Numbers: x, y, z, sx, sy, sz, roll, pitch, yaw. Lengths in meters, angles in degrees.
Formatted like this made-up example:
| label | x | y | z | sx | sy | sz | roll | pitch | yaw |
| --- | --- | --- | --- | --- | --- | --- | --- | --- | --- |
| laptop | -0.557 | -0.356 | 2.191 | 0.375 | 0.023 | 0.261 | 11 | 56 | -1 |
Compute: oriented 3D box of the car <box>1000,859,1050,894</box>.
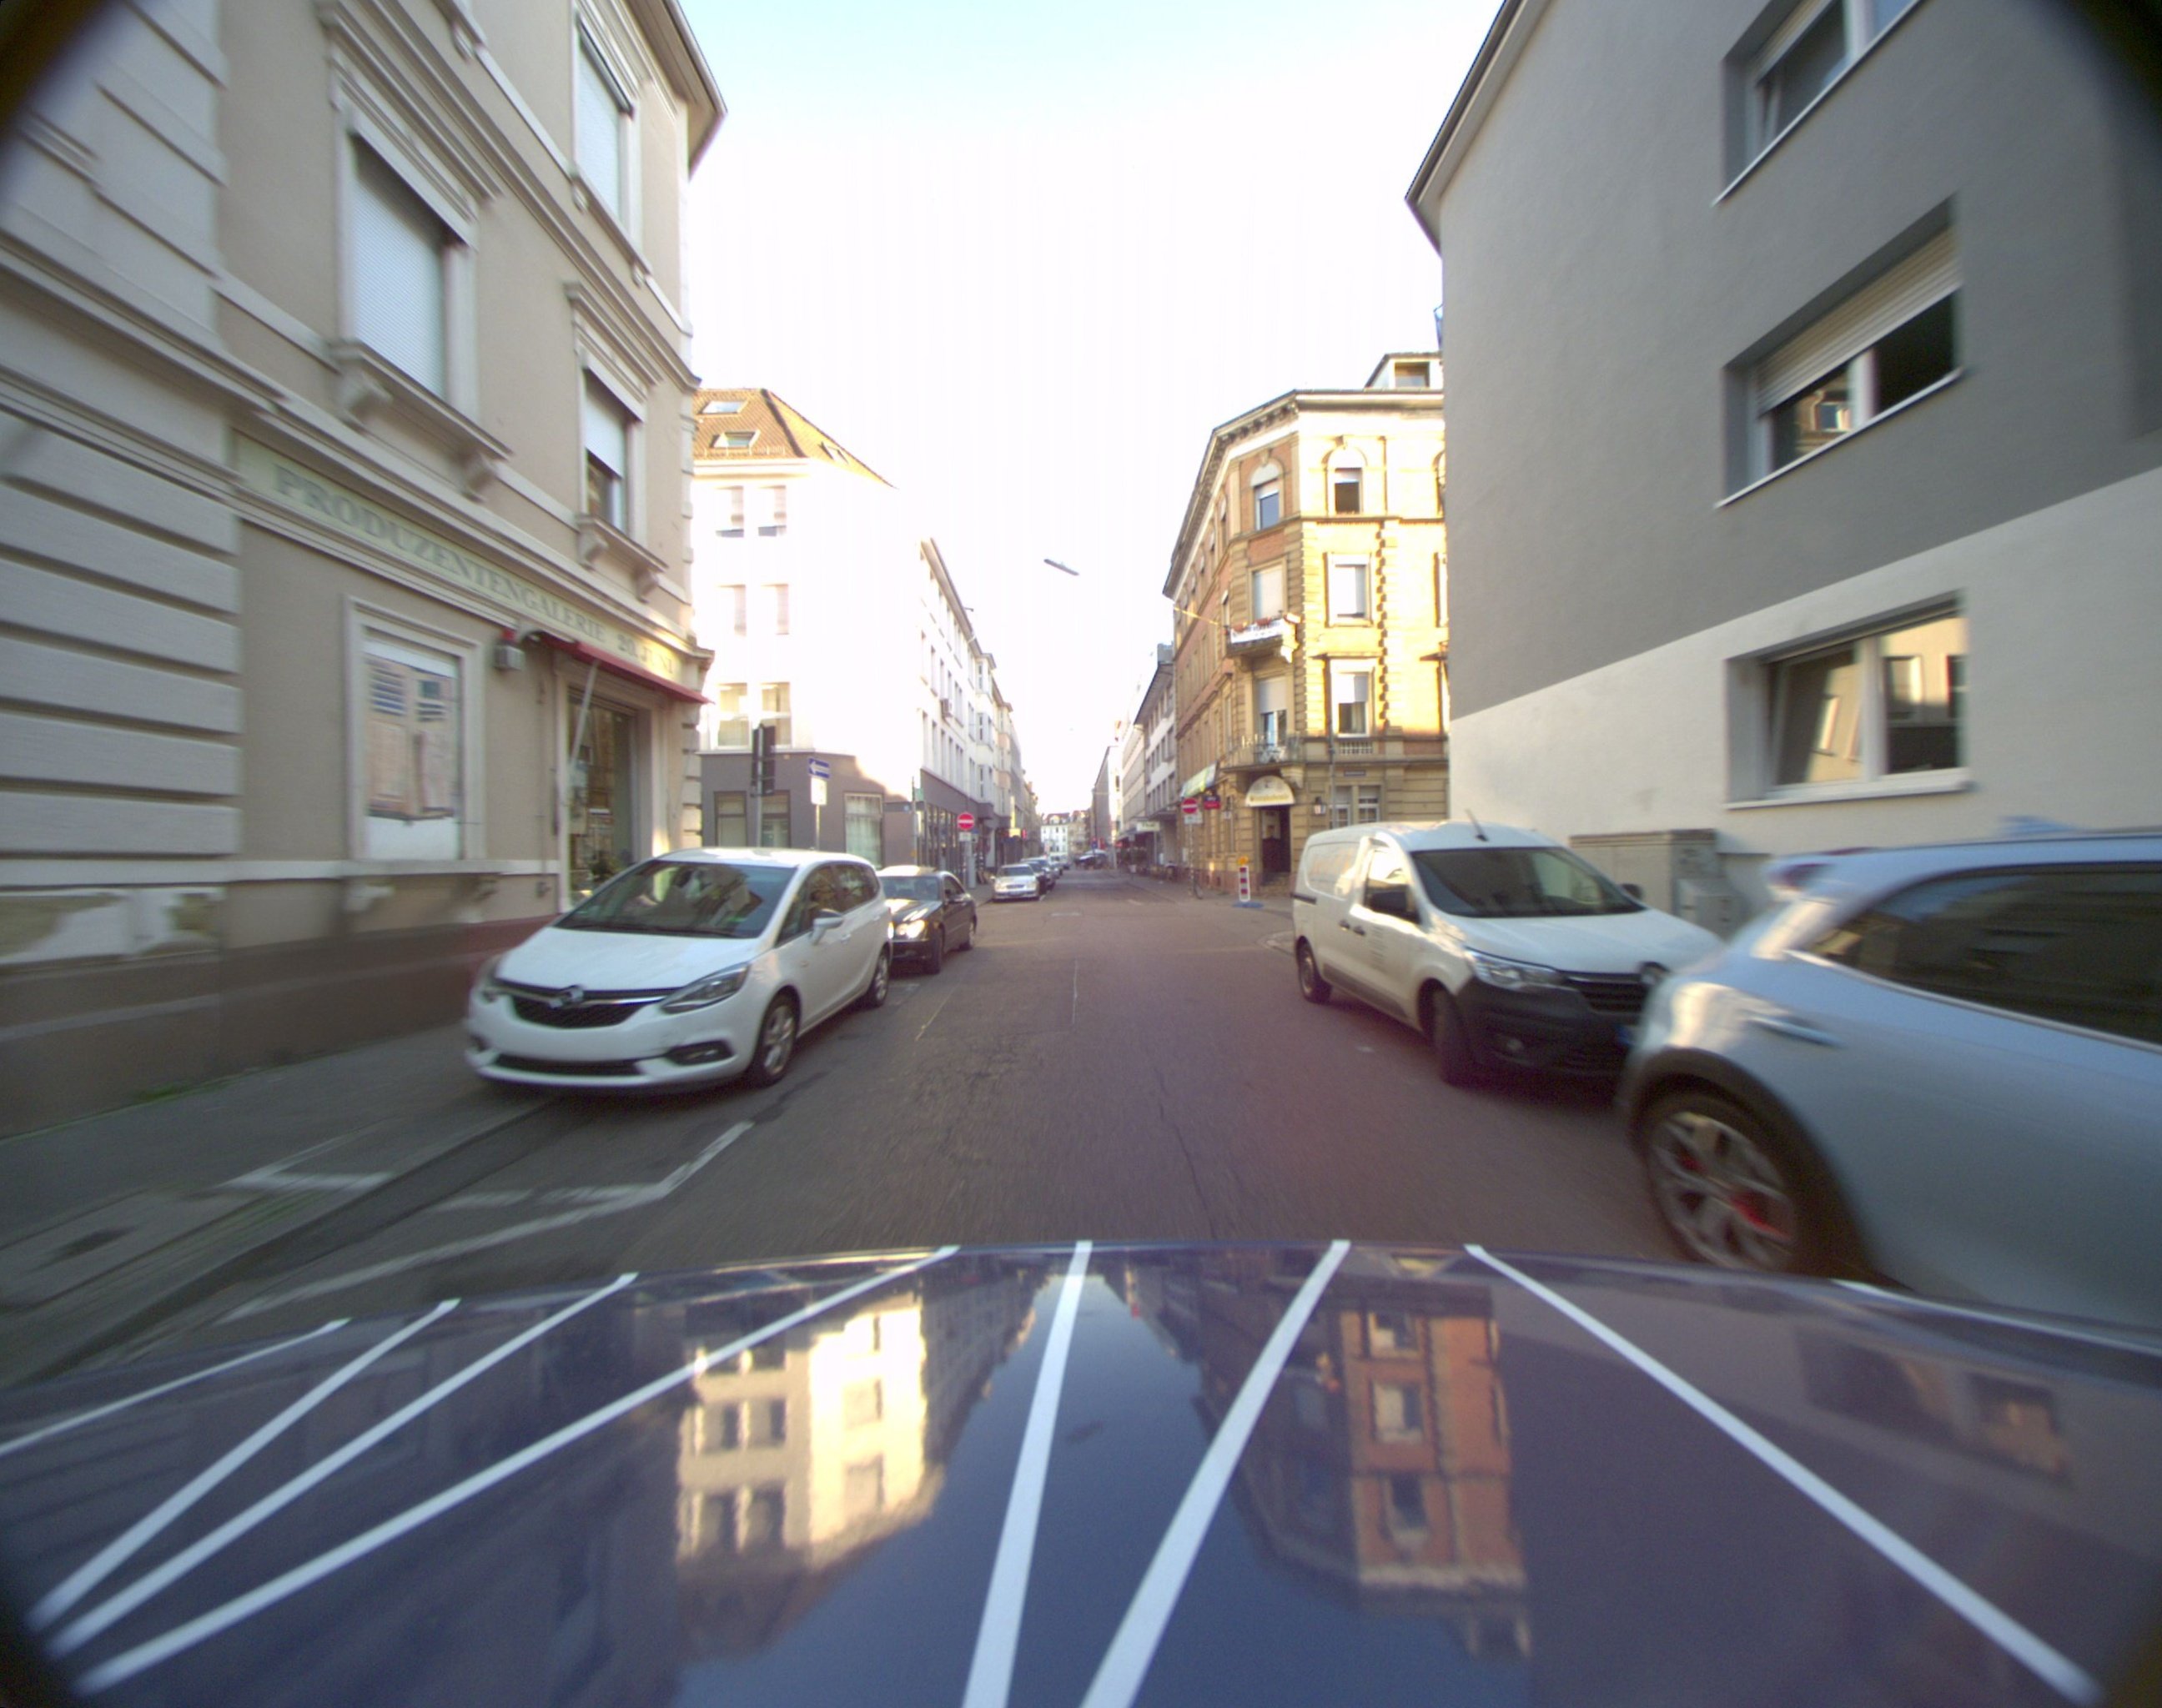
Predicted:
| label | x | y | z | sx | sy | sz | roll | pitch | yaw |
| --- | --- | --- | --- | --- | --- | --- | --- | --- | --- |
| car | -2.520 | 1.000 | 35.041 | 2.013 | 1.515 | 4.117 | -1 | 0 | 0 |

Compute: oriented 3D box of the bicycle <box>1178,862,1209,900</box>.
| label | x | y | z | sx | sy | sz | roll | pitch | yaw |
| --- | --- | --- | --- | --- | --- | --- | --- | --- | --- |
| bicycle | 3.979 | 0.930 | 27.015 | 0.660 | 1.268 | 1.763 | -4 | 0 | -4 |

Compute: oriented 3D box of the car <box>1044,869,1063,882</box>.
| label | x | y | z | sx | sy | sz | roll | pitch | yaw |
| --- | --- | --- | --- | --- | --- | --- | --- | --- | --- |
| car | -2.395 | 1.858 | 67.139 | 1.514 | 1.053 | 3.467 | -1 | 0 | 0 |

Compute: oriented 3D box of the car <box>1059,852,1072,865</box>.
| label | x | y | z | sx | sy | sz | roll | pitch | yaw |
| --- | --- | --- | --- | --- | --- | --- | --- | --- | --- |
| car | -2.526 | 0.708 | 125.765 | 1.999 | 2.002 | 3.999 | -1 | 0 | -3 |

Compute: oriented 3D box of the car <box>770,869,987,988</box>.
| label | x | y | z | sx | sy | sz | roll | pitch | yaw |
| --- | --- | --- | --- | --- | --- | --- | --- | --- | --- |
| car | -2.806 | 0.969 | 11.762 | 1.888 | 1.400 | 4.730 | -1 | 0 | 2 |

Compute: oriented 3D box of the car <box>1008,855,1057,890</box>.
| label | x | y | z | sx | sy | sz | roll | pitch | yaw |
| --- | --- | --- | --- | --- | --- | --- | --- | --- | --- |
| car | -2.537 | 0.945 | 40.788 | 2.335 | 1.734 | 4.487 | -1 | 0 | 0 |

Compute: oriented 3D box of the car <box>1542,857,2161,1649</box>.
| label | x | y | z | sx | sy | sz | roll | pitch | yaw |
| --- | --- | --- | --- | --- | --- | --- | --- | --- | --- |
| car | 3.032 | 0.768 | 1.136 | 1.768 | 1.554 | 4.365 | -1 | -1 | -5 |

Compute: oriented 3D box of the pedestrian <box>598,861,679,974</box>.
| label | x | y | z | sx | sy | sz | roll | pitch | yaw |
| --- | --- | --- | --- | --- | --- | --- | --- | --- | --- |
| pedestrian | -5.915 | 0.830 | 10.187 | 0.716 | 1.463 | 0.580 | -1 | 0 | 0 |

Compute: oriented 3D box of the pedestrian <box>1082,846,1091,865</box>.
| label | x | y | z | sx | sy | sz | roll | pitch | yaw |
| --- | --- | --- | --- | --- | --- | --- | --- | --- | --- |
| pedestrian | 0.849 | 0.212 | 110.220 | 1.247 | 2.599 | 1.467 | -1 | 0 | -1 |

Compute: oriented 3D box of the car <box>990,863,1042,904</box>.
| label | x | y | z | sx | sy | sz | roll | pitch | yaw |
| --- | --- | --- | --- | --- | --- | --- | --- | --- | --- |
| car | -2.439 | 1.076 | 29.475 | 1.755 | 1.393 | 4.488 | -2 | 0 | -2 |

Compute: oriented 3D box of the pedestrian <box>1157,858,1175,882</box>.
| label | x | y | z | sx | sy | sz | roll | pitch | yaw |
| --- | --- | --- | --- | --- | --- | --- | --- | --- | --- |
| pedestrian | 4.881 | 0.919 | 43.565 | 0.836 | 1.331 | 0.806 | -1 | 0 | 20 |

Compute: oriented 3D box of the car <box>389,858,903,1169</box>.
| label | x | y | z | sx | sy | sz | roll | pitch | yaw |
| --- | --- | --- | --- | --- | --- | --- | --- | --- | --- |
| car | -2.957 | 0.913 | 6.492 | 1.821 | 1.713 | 4.461 | -1 | 0 | 0 |

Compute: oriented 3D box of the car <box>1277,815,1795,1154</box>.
| label | x | y | z | sx | sy | sz | roll | pitch | yaw |
| --- | --- | --- | --- | --- | --- | --- | --- | --- | --- |
| car | 3.008 | 0.722 | 6.202 | 1.635 | 1.803 | 4.185 | -1 | 0 | -1 |
